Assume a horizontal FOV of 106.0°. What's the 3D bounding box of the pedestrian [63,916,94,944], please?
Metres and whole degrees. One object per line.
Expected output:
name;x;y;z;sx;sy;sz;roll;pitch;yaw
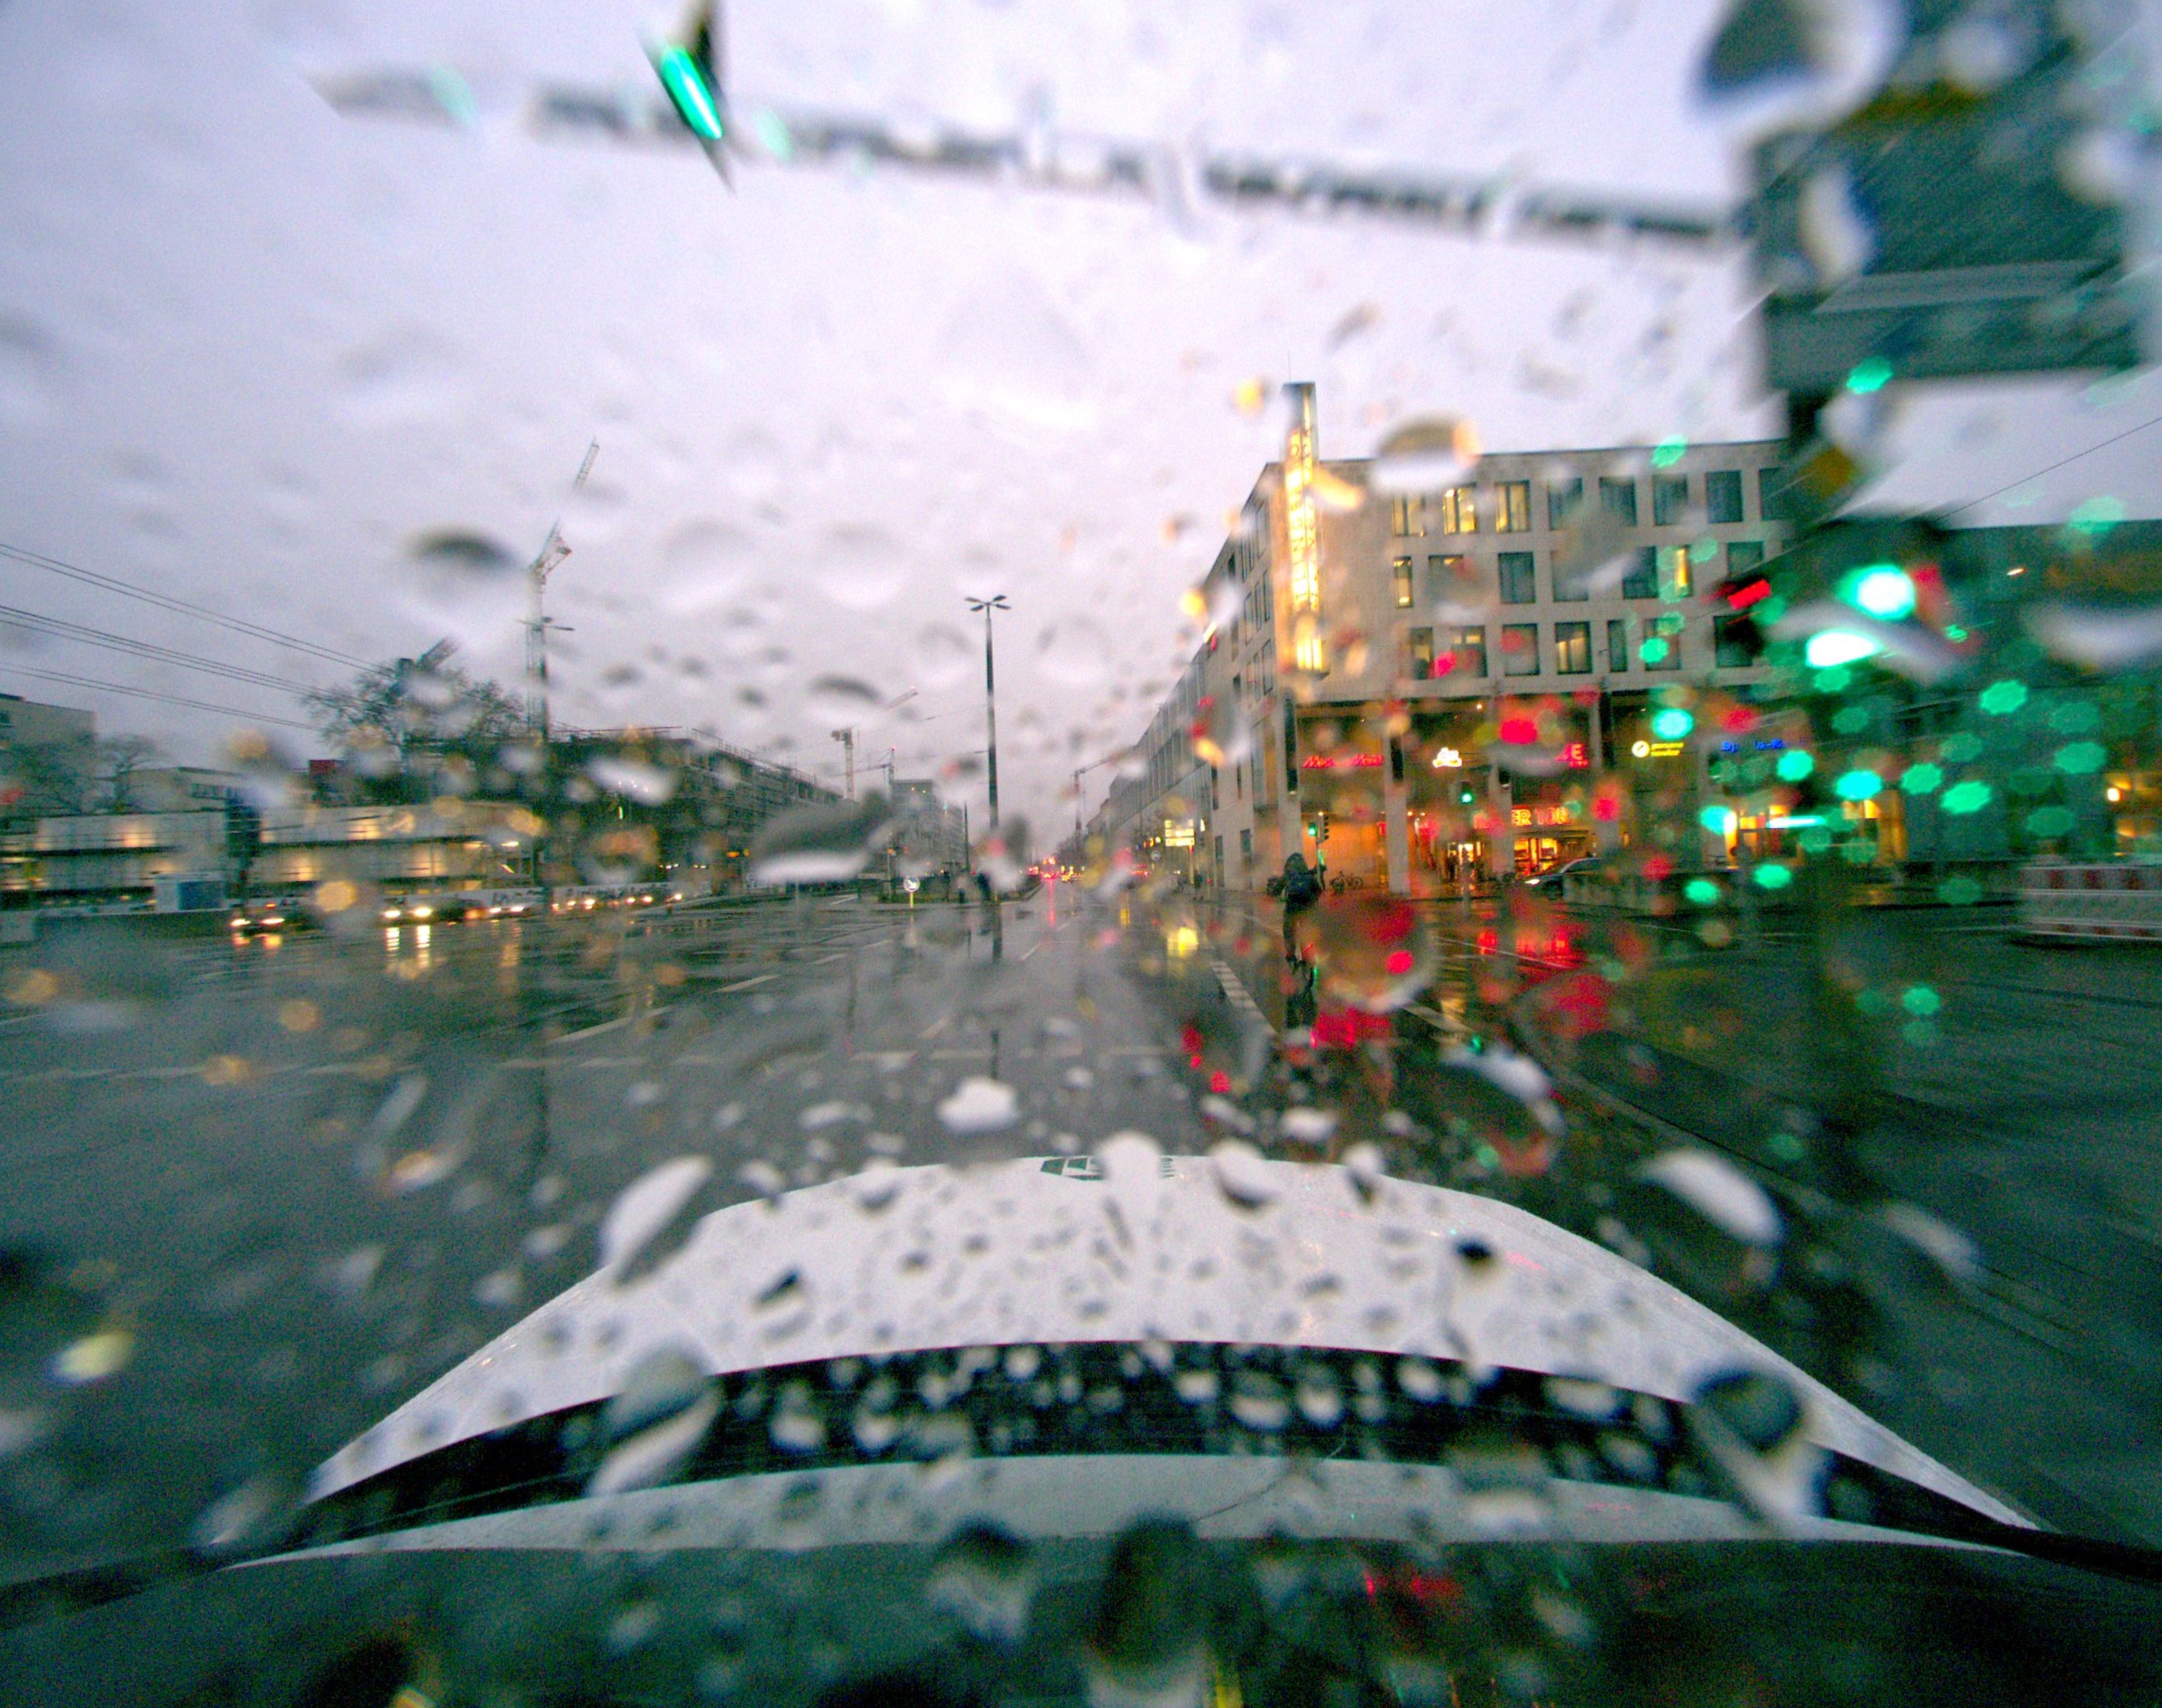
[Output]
pedestrian;-53.369;4.036;43.359;0.725;1.389;0.725;-2;-2;3

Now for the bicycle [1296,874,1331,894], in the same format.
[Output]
bicycle;12.675;1.609;44.420;1.766;1.070;0.523;0;-2;-8

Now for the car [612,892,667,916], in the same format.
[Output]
car;-36.194;4.066;66.901;1.983;1.791;4.006;-1;-2;6

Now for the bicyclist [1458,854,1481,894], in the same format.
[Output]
bicyclist;19.681;1.017;41.282;0.913;2.014;0.912;-3;-1;24

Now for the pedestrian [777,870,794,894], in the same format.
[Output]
pedestrian;-25.352;2.382;69.911;0.938;2.014;1.095;-1;-2;3

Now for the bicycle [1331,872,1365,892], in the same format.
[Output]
bicycle;14.590;1.525;44.534;1.643;1.070;0.524;0;-2;-3

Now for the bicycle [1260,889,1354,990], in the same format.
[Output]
bicycle;2.827;1.036;10.366;0.705;1.094;1.784;-1;-1;1

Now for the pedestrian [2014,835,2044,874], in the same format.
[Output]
pedestrian;41.566;0.014;35.710;0.539;1.684;0.582;-1;-2;7

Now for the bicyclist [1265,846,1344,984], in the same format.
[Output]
bicyclist;2.827;0.749;10.385;0.700;1.660;0.964;-2;-1;1

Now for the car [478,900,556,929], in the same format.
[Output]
car;-34.992;3.707;50.694;2.075;1.530;4.601;-2;-2;-8

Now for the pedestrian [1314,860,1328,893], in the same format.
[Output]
pedestrian;12.780;1.218;43.392;0.596;1.745;0.526;-1;-2;9

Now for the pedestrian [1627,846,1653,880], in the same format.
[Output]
pedestrian;28.455;0.455;41.470;0.890;1.684;0.528;-2;-2;0

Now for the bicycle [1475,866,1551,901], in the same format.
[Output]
bicycle;18.431;1.253;34.800;2.706;1.359;0.956;-2;-2;-3

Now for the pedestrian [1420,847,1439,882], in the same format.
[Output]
pedestrian;20.489;0.636;47.905;0.841;2.014;0.700;-2;-1;9

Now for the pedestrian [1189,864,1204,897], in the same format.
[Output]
pedestrian;6.090;1.392;42.851;0.634;1.709;0.573;-2;-2;0

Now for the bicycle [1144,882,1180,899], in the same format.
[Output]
bicycle;5.587;2.524;56.233;2.418;1.099;0.711;-2;-2;-1

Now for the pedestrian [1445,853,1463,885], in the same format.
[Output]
pedestrian;20.539;0.822;44.840;0.728;1.718;0.743;-3;-2;28

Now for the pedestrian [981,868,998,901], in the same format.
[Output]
pedestrian;-4.643;1.538;41.421;0.605;1.686;0.581;-2;-3;43

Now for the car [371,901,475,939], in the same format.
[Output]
car;-33.493;3.338;41.609;1.987;1.657;4.000;-2;-2;1

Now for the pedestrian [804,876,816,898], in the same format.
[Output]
pedestrian;-24.435;2.968;73.436;0.763;1.898;0.762;-1;-3;0

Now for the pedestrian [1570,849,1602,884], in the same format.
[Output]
pedestrian;24.618;0.617;39.725;1.026;1.684;0.824;-1;-2;0

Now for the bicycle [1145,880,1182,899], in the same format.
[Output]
bicycle;5.634;2.405;55.482;2.435;1.154;0.674;-2;-2;-1

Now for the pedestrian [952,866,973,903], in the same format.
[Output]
pedestrian;-5.896;1.497;40.475;0.826;1.832;0.778;1;-2;-30

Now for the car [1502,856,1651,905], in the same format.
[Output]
car;17.217;0.923;28.449;3.972;1.618;2.001;-1;-2;2

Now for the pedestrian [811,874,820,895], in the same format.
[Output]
pedestrian;-24.392;2.804;74.840;0.569;1.968;0.664;1;-2;-5

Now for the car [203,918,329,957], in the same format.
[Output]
car;-39.160;3.979;39.270;1.987;1.530;4.000;-2;-2;1

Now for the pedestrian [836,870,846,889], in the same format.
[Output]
pedestrian;-25.876;2.704;87.794;0.942;2.014;1.090;0;-2;-10

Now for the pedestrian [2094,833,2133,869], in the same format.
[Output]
pedestrian;47.886;-0.130;37.777;0.738;1.684;0.783;-1;-2;7

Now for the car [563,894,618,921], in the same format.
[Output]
car;-35.449;3.829;58.934;1.863;1.828;3.991;0;-2;-6

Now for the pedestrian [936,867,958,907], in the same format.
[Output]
pedestrian;-6.799;1.678;41.305;0.776;2.014;0.732;-2;-2;43

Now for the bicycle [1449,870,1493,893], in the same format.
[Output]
bicycle;19.729;1.411;41.264;1.943;1.086;0.931;-3;-1;22

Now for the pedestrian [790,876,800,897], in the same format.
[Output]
pedestrian;-24.987;2.841;71.186;0.696;1.881;0.553;-1;-2;0
